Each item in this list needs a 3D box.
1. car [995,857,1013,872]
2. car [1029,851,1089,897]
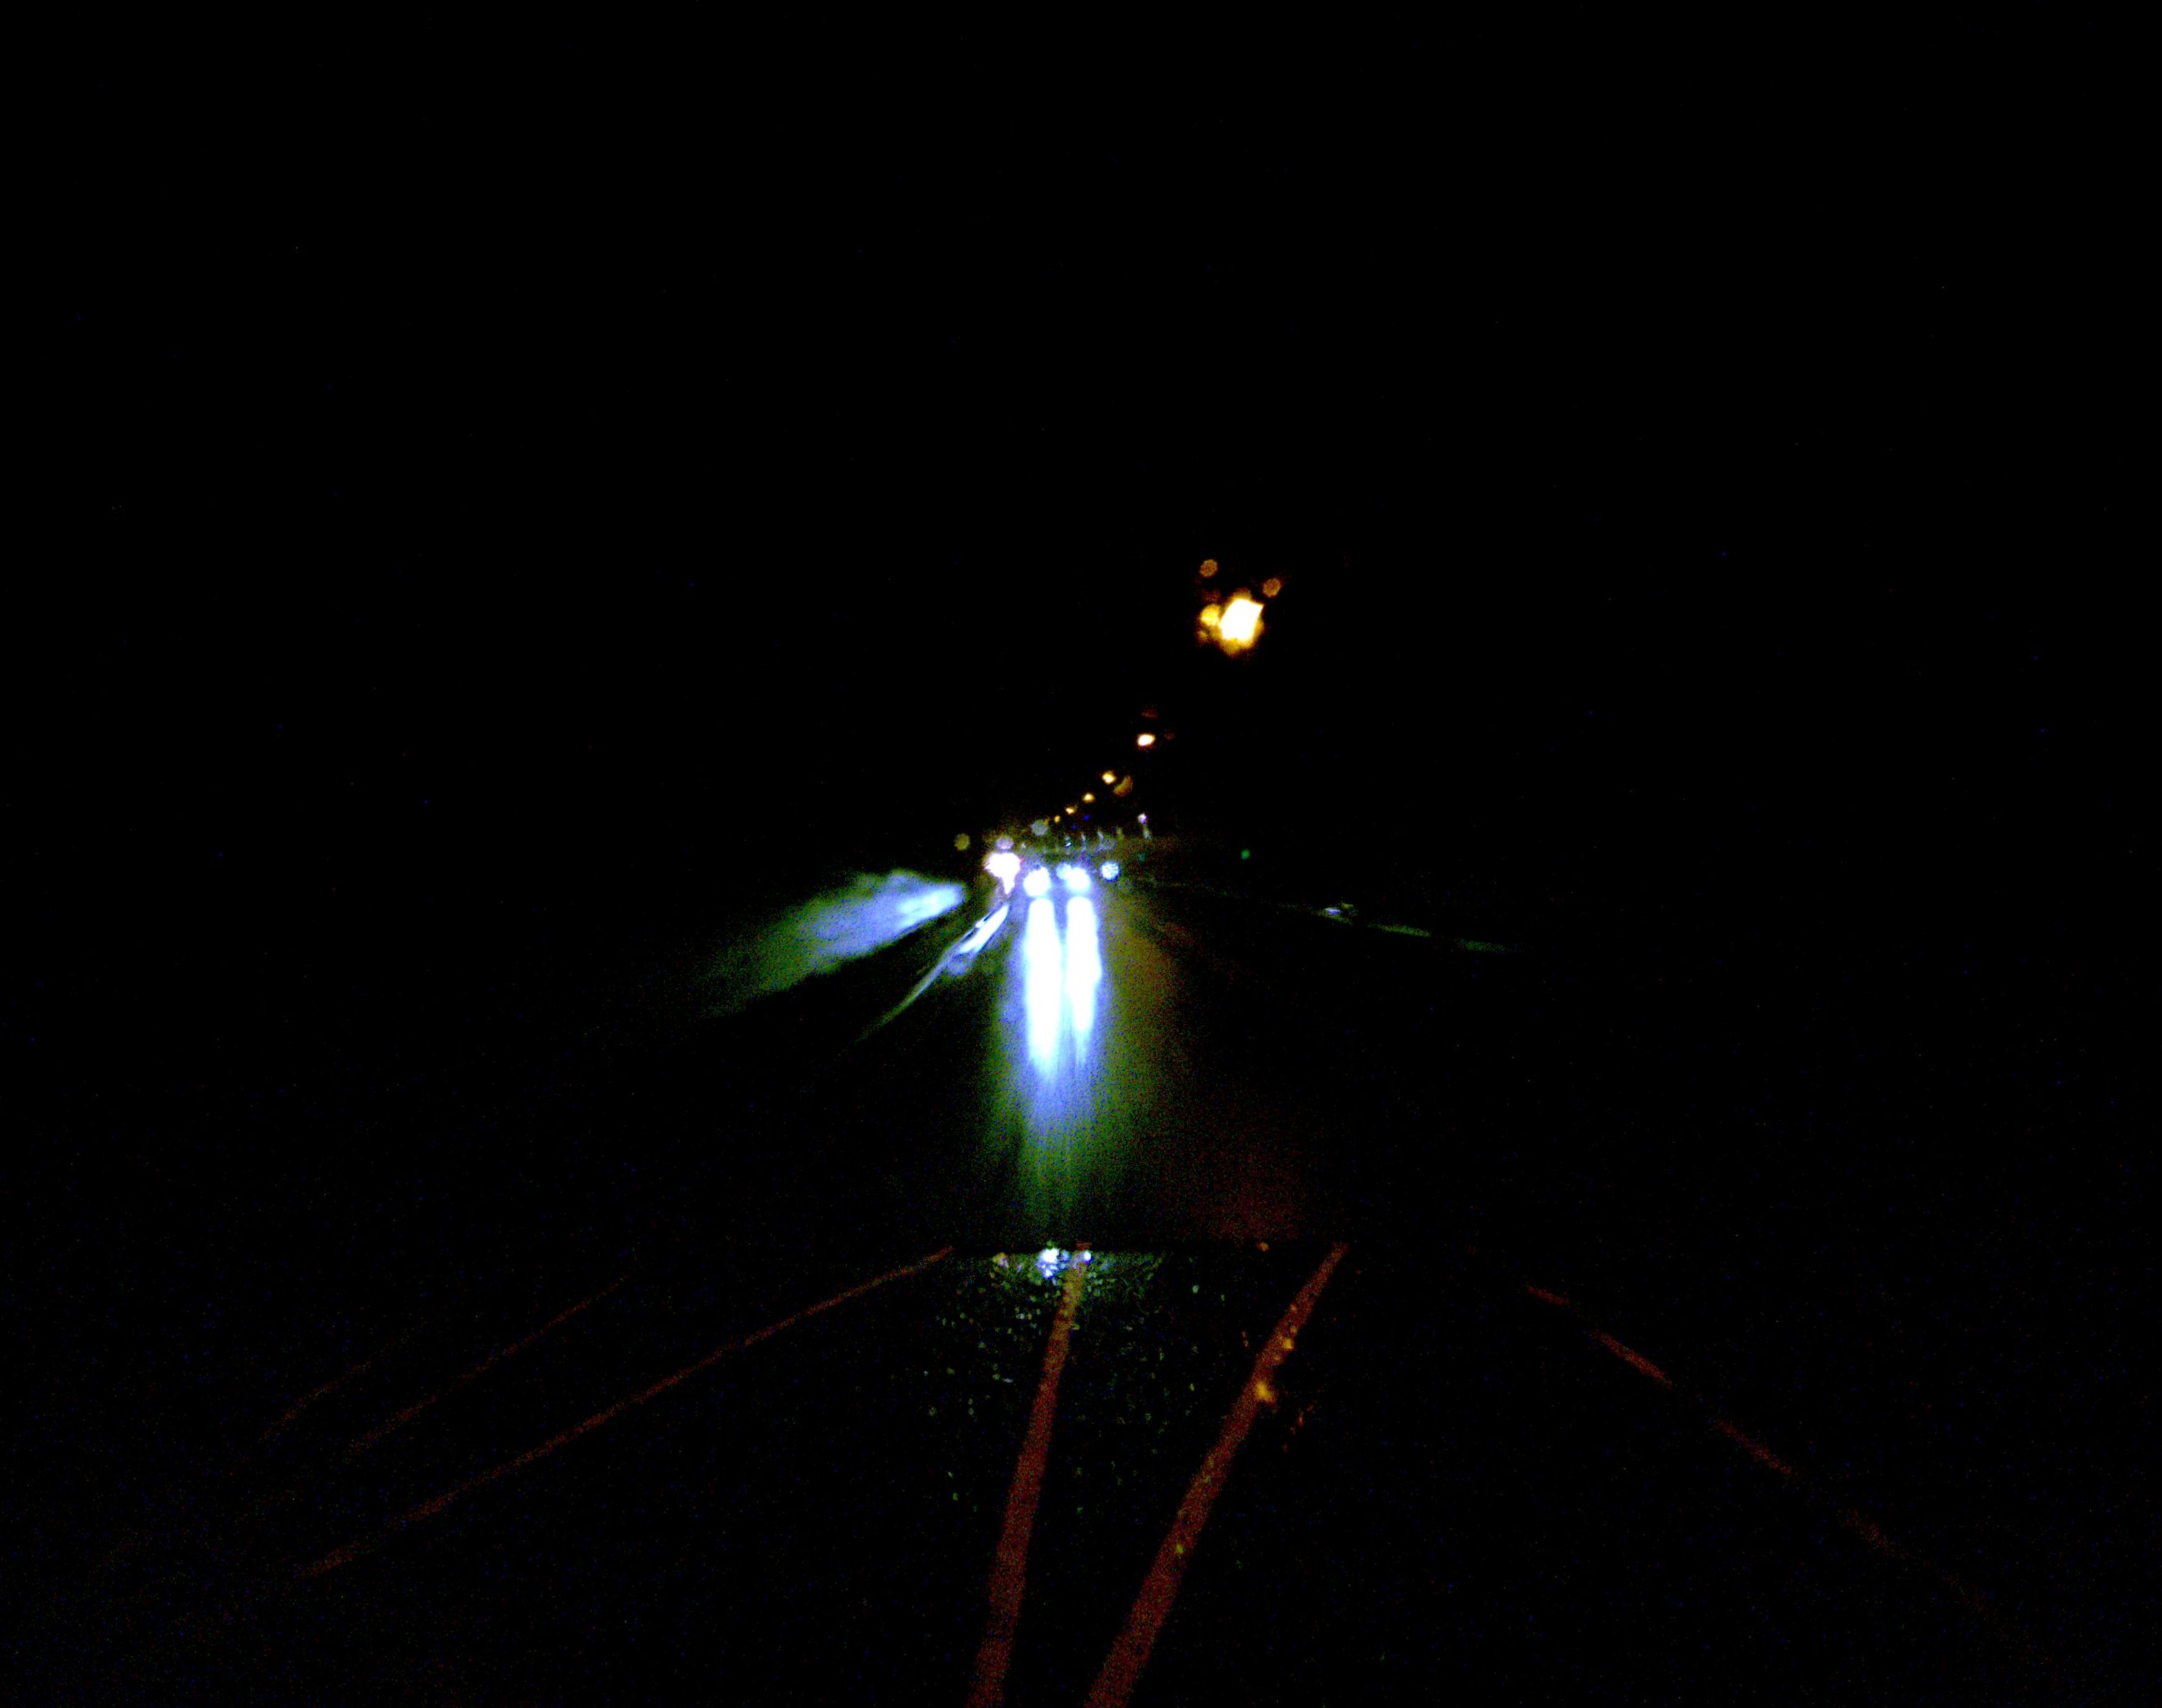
[{"bbox_3d":[-10.451,1.392,102.416,1.901,2.002,3.995,-2,1,-13],"label":"car"},{"bbox_3d":[-0.954,0.734,30.587,1.999,1.585,4.605,-3,1,-6],"label":"car"}]
